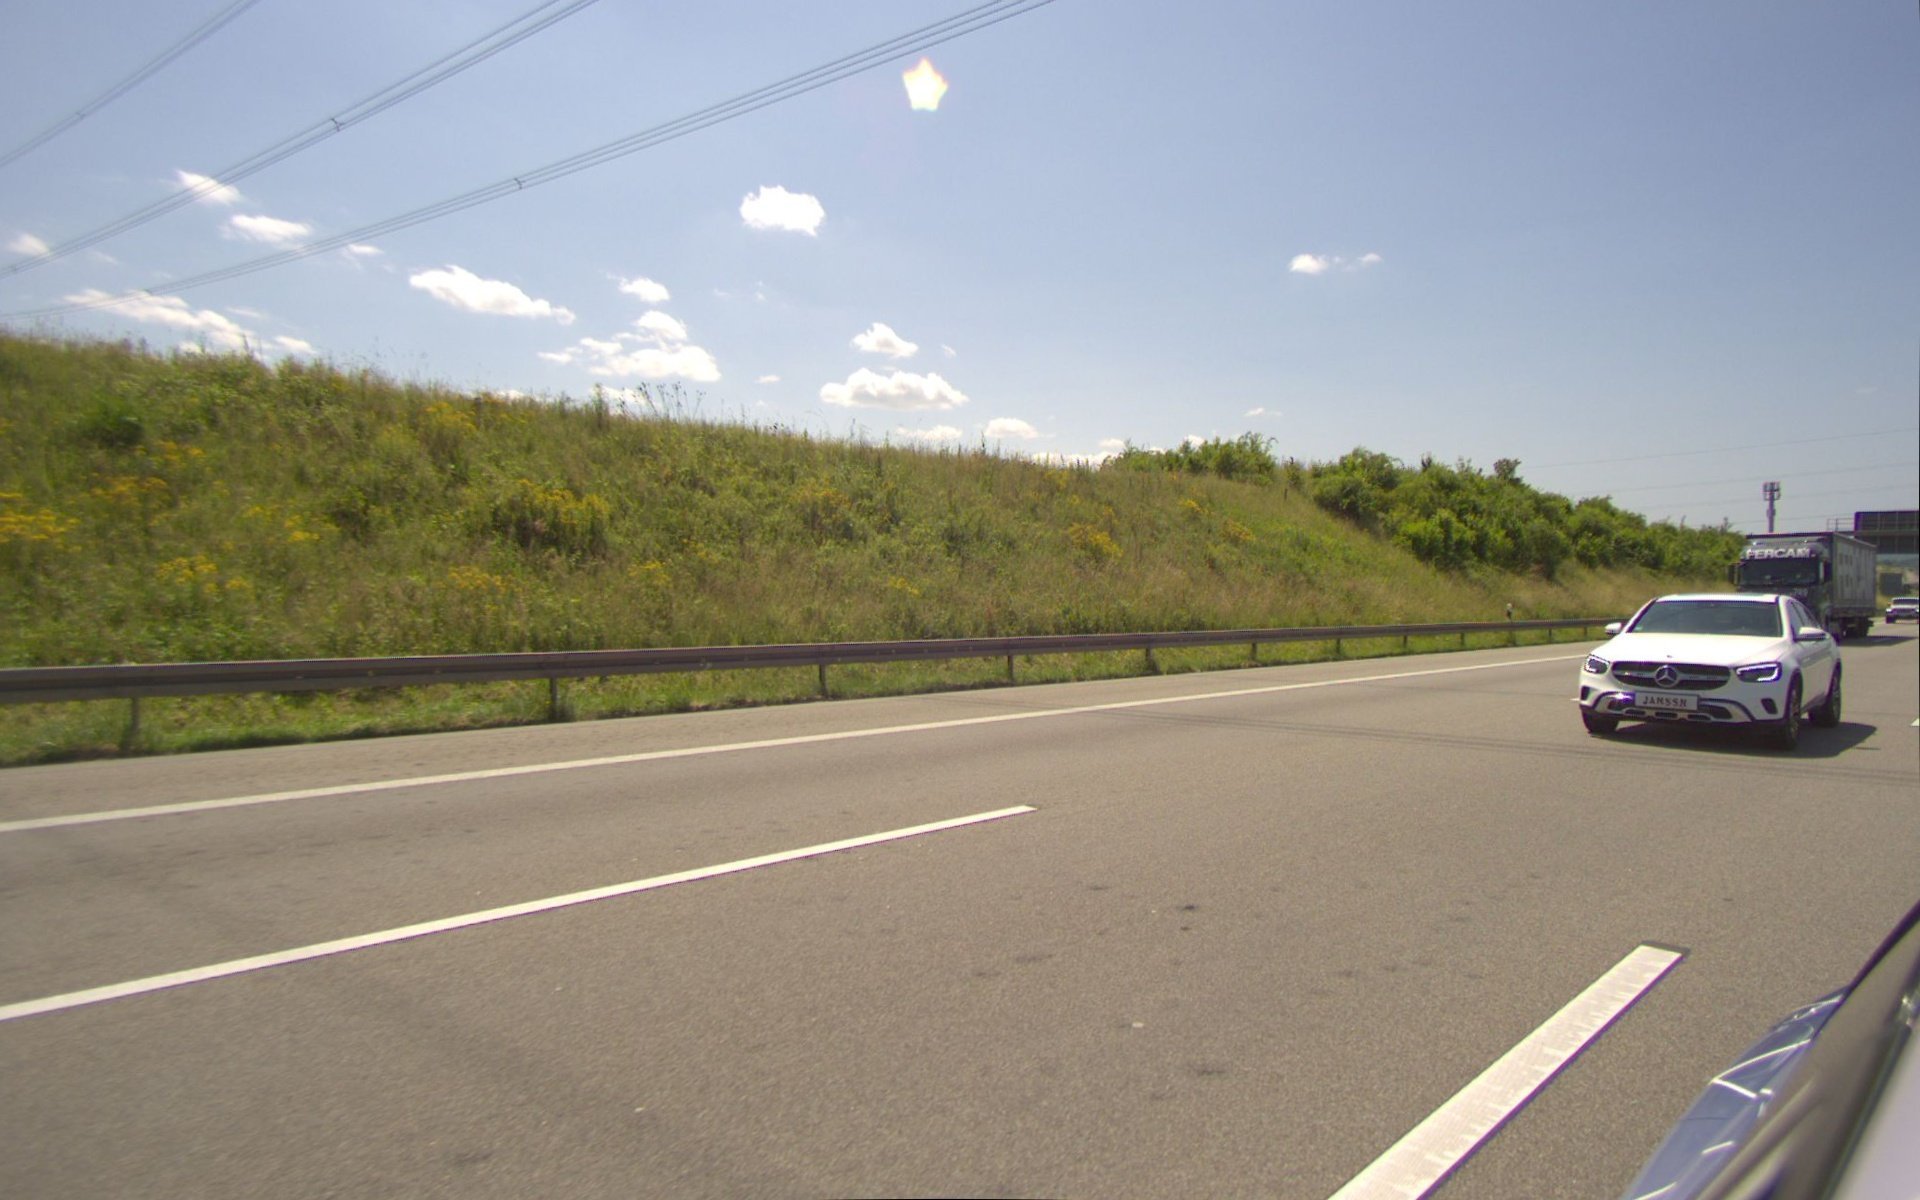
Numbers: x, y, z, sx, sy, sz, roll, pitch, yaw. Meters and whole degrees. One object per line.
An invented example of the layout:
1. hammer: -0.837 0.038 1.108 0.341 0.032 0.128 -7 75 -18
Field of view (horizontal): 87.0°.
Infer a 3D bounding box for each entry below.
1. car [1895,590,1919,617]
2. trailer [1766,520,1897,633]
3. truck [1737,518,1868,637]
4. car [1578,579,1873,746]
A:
1. car: 67.231 0.231 71.035 4.178 1.827 2.037 0 0 -43
2. trailer: 36.870 -0.945 42.584 11.605 4.207 2.729 -1 1 -42
3. truck: 31.555 -0.801 37.815 6.671 4.071 2.756 -1 0 -41
4. car: 9.348 0.568 12.164 5.142 1.600 1.917 -1 0 -42
